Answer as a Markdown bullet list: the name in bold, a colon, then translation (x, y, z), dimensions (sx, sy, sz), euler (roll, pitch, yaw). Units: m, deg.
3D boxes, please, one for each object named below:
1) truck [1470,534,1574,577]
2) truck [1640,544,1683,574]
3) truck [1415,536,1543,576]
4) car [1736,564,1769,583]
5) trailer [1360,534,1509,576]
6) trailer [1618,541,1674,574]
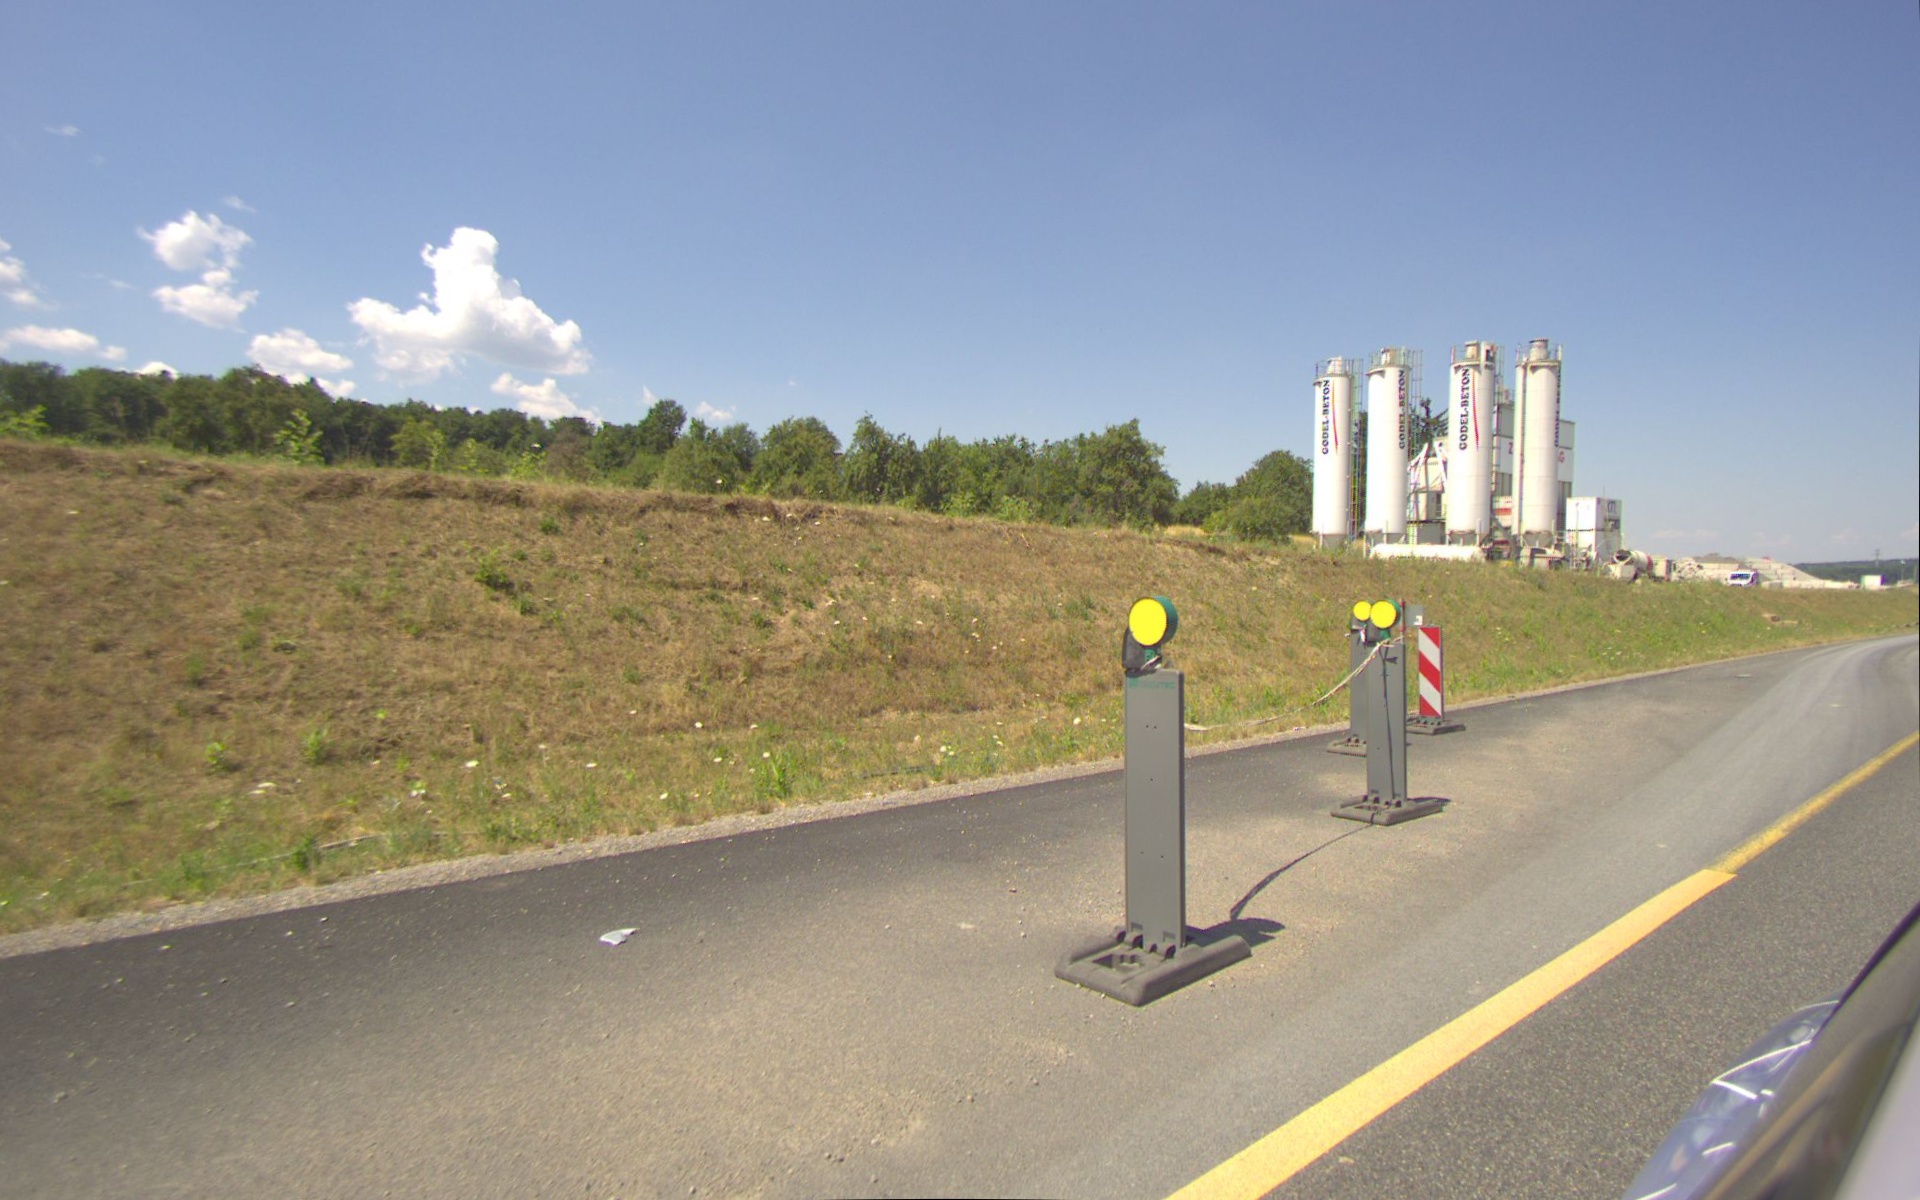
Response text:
- **truck**: translation (36.202, -2.845, 65.399), dimensions (5.229, 2.576, 2.893), euler (0, 0, 14)
- **truck**: translation (62.682, -3.665, 90.390), dimensions (3.966, 2.577, 2.022), euler (-1, 0, -37)
- **truck**: translation (41.358, -3.434, 81.028), dimensions (2.412, 2.904, 9.104), euler (0, 0, -34)
- **car**: translation (79.854, -2.654, 101.999), dimensions (3.539, 1.785, 1.989), euler (-1, 0, -41)
- **trailer**: translation (31.914, -2.985, 68.437), dimensions (2.423, 2.639, 8.904), euler (0, 1, -43)
- **trailer**: translation (59.840, -3.647, 88.219), dimensions (6.808, 2.677, 1.999), euler (-1, 0, -37)
